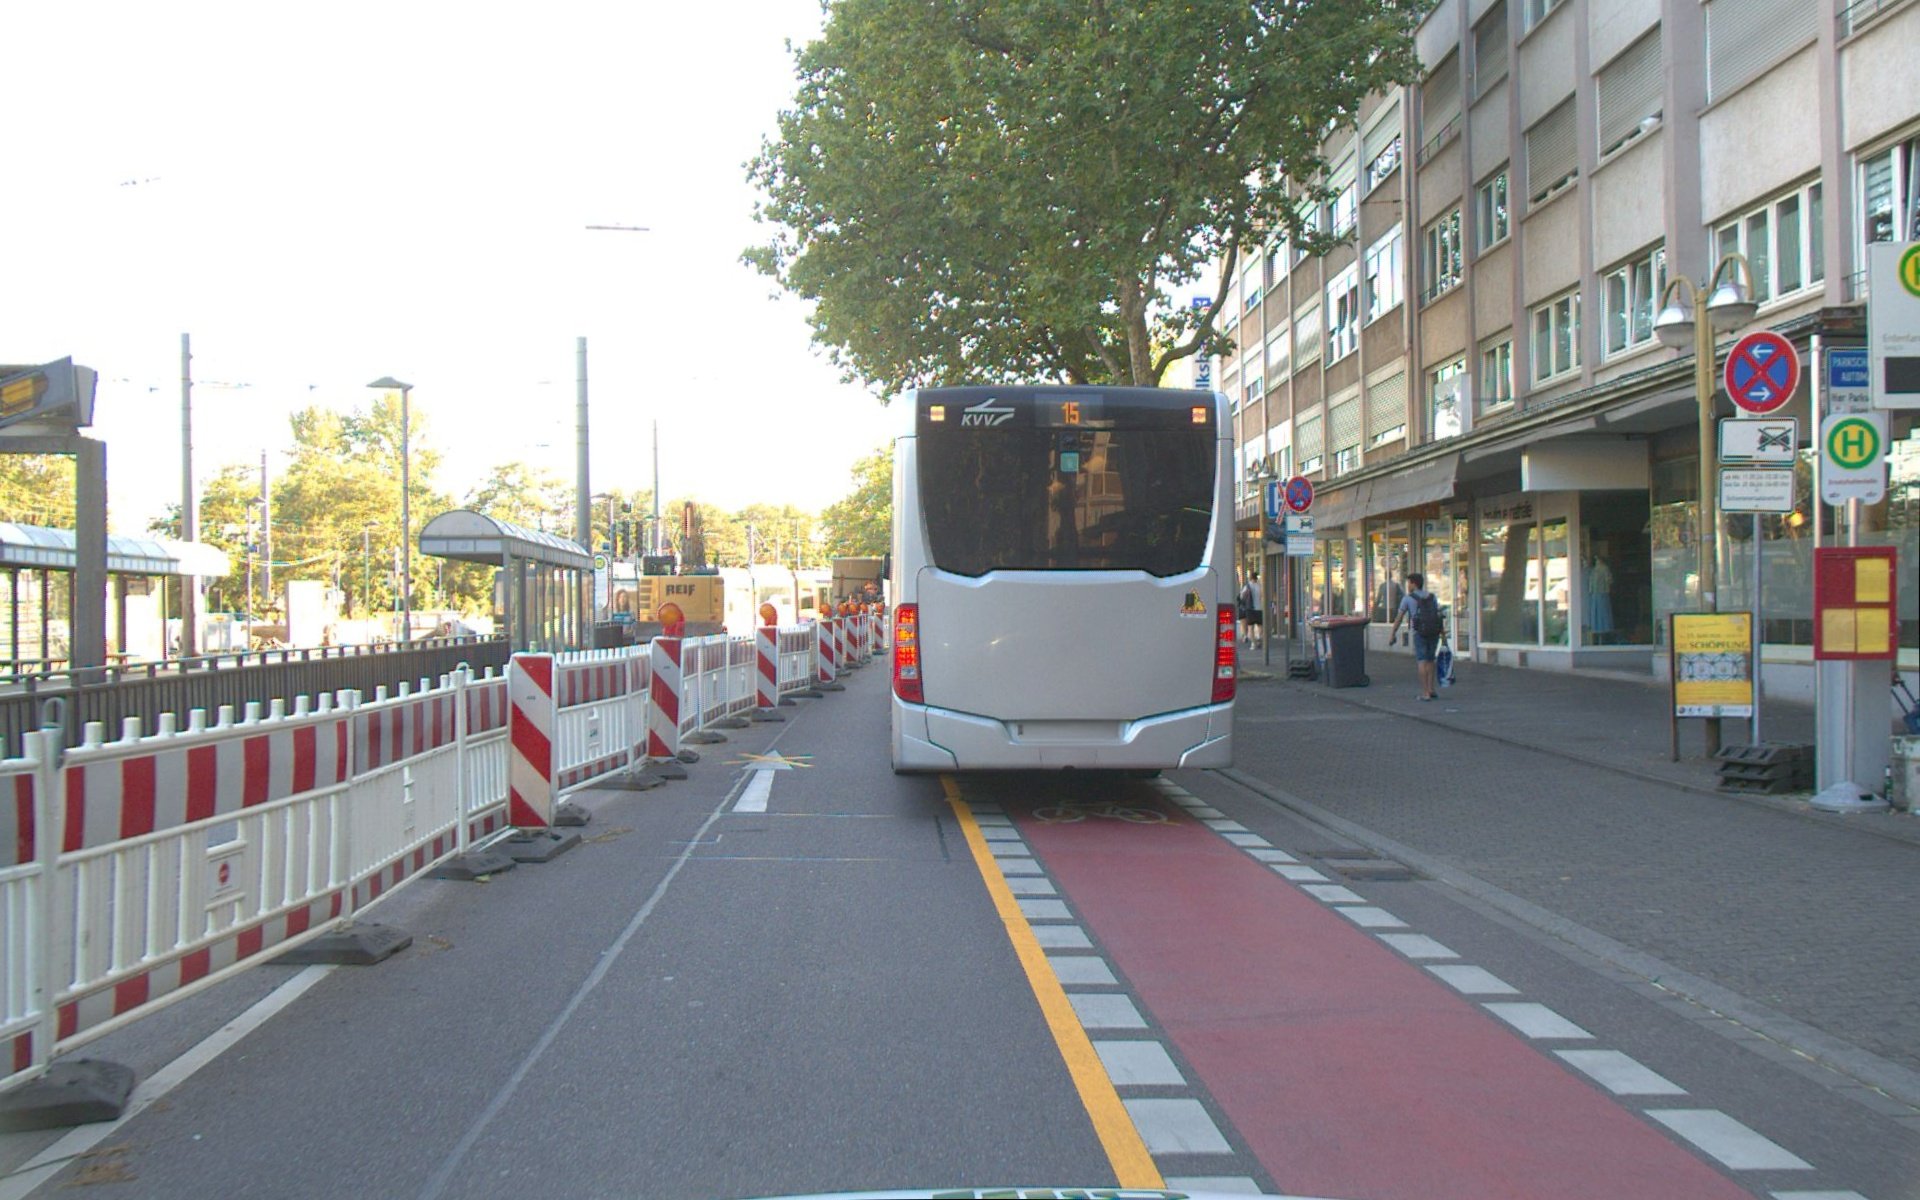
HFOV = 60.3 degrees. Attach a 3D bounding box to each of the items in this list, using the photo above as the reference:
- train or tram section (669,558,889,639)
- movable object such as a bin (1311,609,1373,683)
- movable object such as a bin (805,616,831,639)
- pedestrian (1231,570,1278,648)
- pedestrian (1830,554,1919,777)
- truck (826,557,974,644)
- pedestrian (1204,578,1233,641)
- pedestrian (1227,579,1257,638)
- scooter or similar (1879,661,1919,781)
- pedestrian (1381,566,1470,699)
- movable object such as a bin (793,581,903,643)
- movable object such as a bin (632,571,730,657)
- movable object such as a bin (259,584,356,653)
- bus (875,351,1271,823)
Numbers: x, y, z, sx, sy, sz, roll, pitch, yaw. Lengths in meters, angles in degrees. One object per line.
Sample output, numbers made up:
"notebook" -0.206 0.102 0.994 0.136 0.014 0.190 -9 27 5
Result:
"train or tram section" -8.473 -0.099 80.223 2.799 3.595 13.359 -1 0 33
"movable object such as a bin" 6.022 0.708 26.135 0.660 1.094 1.228 -1 1 -1
"movable object such as a bin" -5.797 1.118 67.789 0.913 0.933 1.420 -1 -1 1
"pedestrian" 7.545 0.216 42.358 0.821 1.901 1.099 -5 0 -2
"pedestrian" 7.246 0.502 12.915 0.632 1.702 0.556 -1 -1 8
"truck" -2.519 0.010 73.534 2.756 3.603 8.976 -1 0 25
"pedestrian" 7.301 0.258 46.761 0.571 1.738 0.679 -4 0 -2
"pedestrian" 7.974 0.236 46.766 0.620 1.601 0.774 -3 0 -2
"scooter or similar" 7.314 0.897 12.263 0.564 0.858 0.733 -1 0 -2
"pedestrian" 6.209 0.430 22.121 0.826 1.702 0.990 -2 0 -2
"movable object such as a bin" -4.229 0.429 63.586 1.954 2.296 5.204 1 0 25
"movable object such as a bin" -8.092 0.394 48.437 2.593 2.358 4.894 0 0 -7
"movable object such as a bin" -26.852 0.744 68.222 2.107 2.685 4.599 -1 0 0
"bus" 0.583 -0.088 16.759 2.678 3.194 10.698 1 0 -2
